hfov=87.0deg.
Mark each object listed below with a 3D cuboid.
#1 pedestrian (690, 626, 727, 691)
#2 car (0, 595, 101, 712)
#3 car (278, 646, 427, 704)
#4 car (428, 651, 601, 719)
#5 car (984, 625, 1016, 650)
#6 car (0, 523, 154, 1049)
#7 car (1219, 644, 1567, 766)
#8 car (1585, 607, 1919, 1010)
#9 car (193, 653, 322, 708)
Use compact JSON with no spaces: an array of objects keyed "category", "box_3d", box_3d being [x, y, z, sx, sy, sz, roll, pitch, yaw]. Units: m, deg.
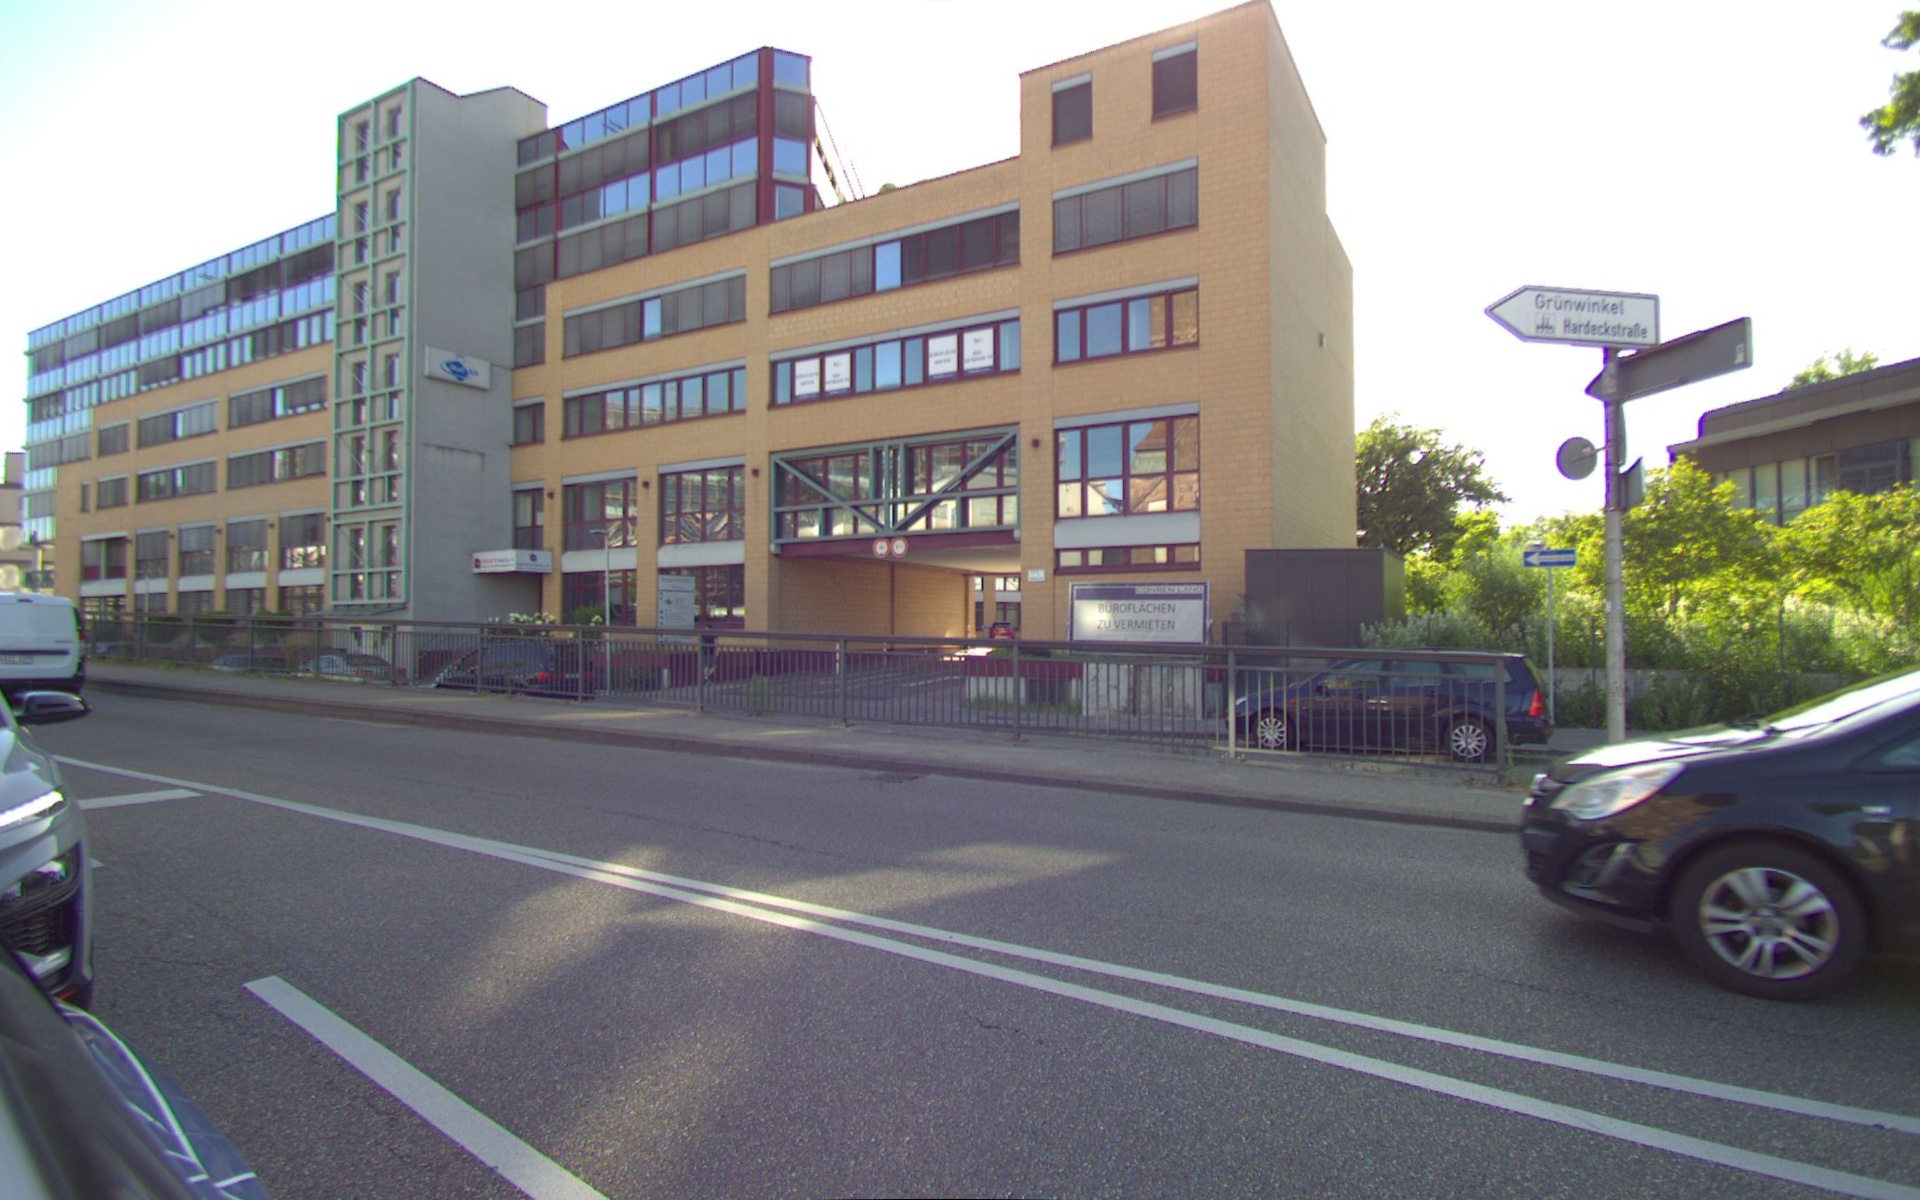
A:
[{"category":"pedestrian","box_3d":[-7.409,1.710,29.818,0.703,1.865,0.738,-2,-1,35]},{"category":"car","box_3d":[-16.225,0.833,16.671,4.473,1.769,1.818,-1,-2,31]},{"category":"car","box_3d":[-17.438,2.118,29.009,4.143,1.535,1.862,-2,-3,29]},{"category":"car","box_3d":[-10.911,2.035,24.746,4.139,1.535,1.624,-2,-3,27]},{"category":"car","box_3d":[2.627,2.455,67.278,1.742,1.532,4.003,-1,0,-3]},{"category":"car","box_3d":[-4.909,0.618,4.153,4.196,1.634,1.854,-2,-3,42]},{"category":"car","box_3d":[6.163,1.474,14.634,4.367,1.520,1.640,-3,-5,34]},{"category":"car","box_3d":[4.580,0.760,3.758,3.809,1.418,1.556,-1,-3,32]},{"category":"car","box_3d":[-21.921,2.459,31.573,3.986,1.576,1.865,-2,-3,32]}]
